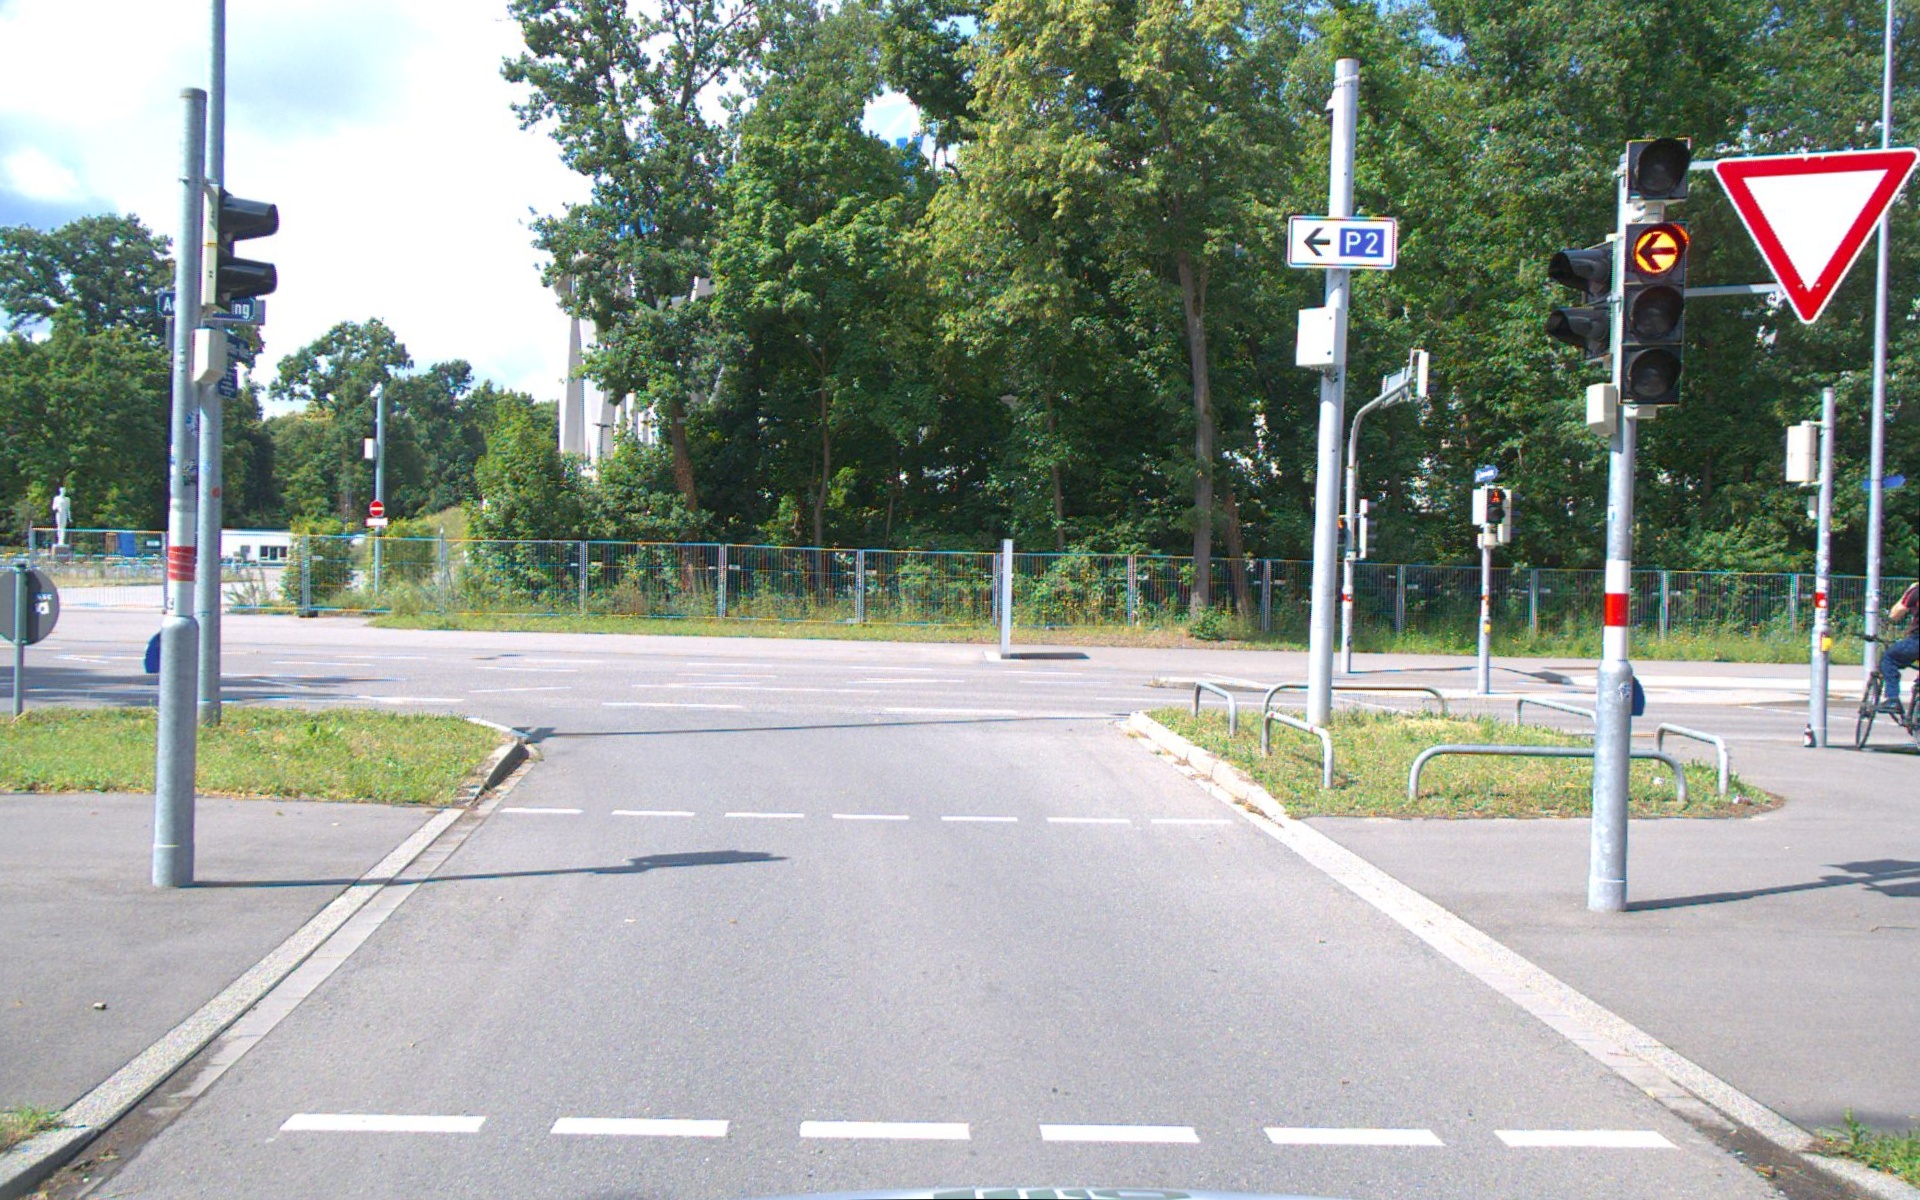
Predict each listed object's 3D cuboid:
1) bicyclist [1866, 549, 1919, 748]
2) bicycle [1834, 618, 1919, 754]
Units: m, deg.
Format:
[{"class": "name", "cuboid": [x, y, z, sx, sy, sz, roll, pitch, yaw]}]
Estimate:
[{"class": "bicyclist", "cuboid": [9.237, 0.458, 15.642, 0.866, 1.829, 0.979, 1, -1, 7]}, {"class": "bicycle", "cuboid": [9.236, 0.796, 15.904, 0.861, 1.227, 1.899, 1, 0, 8]}]
